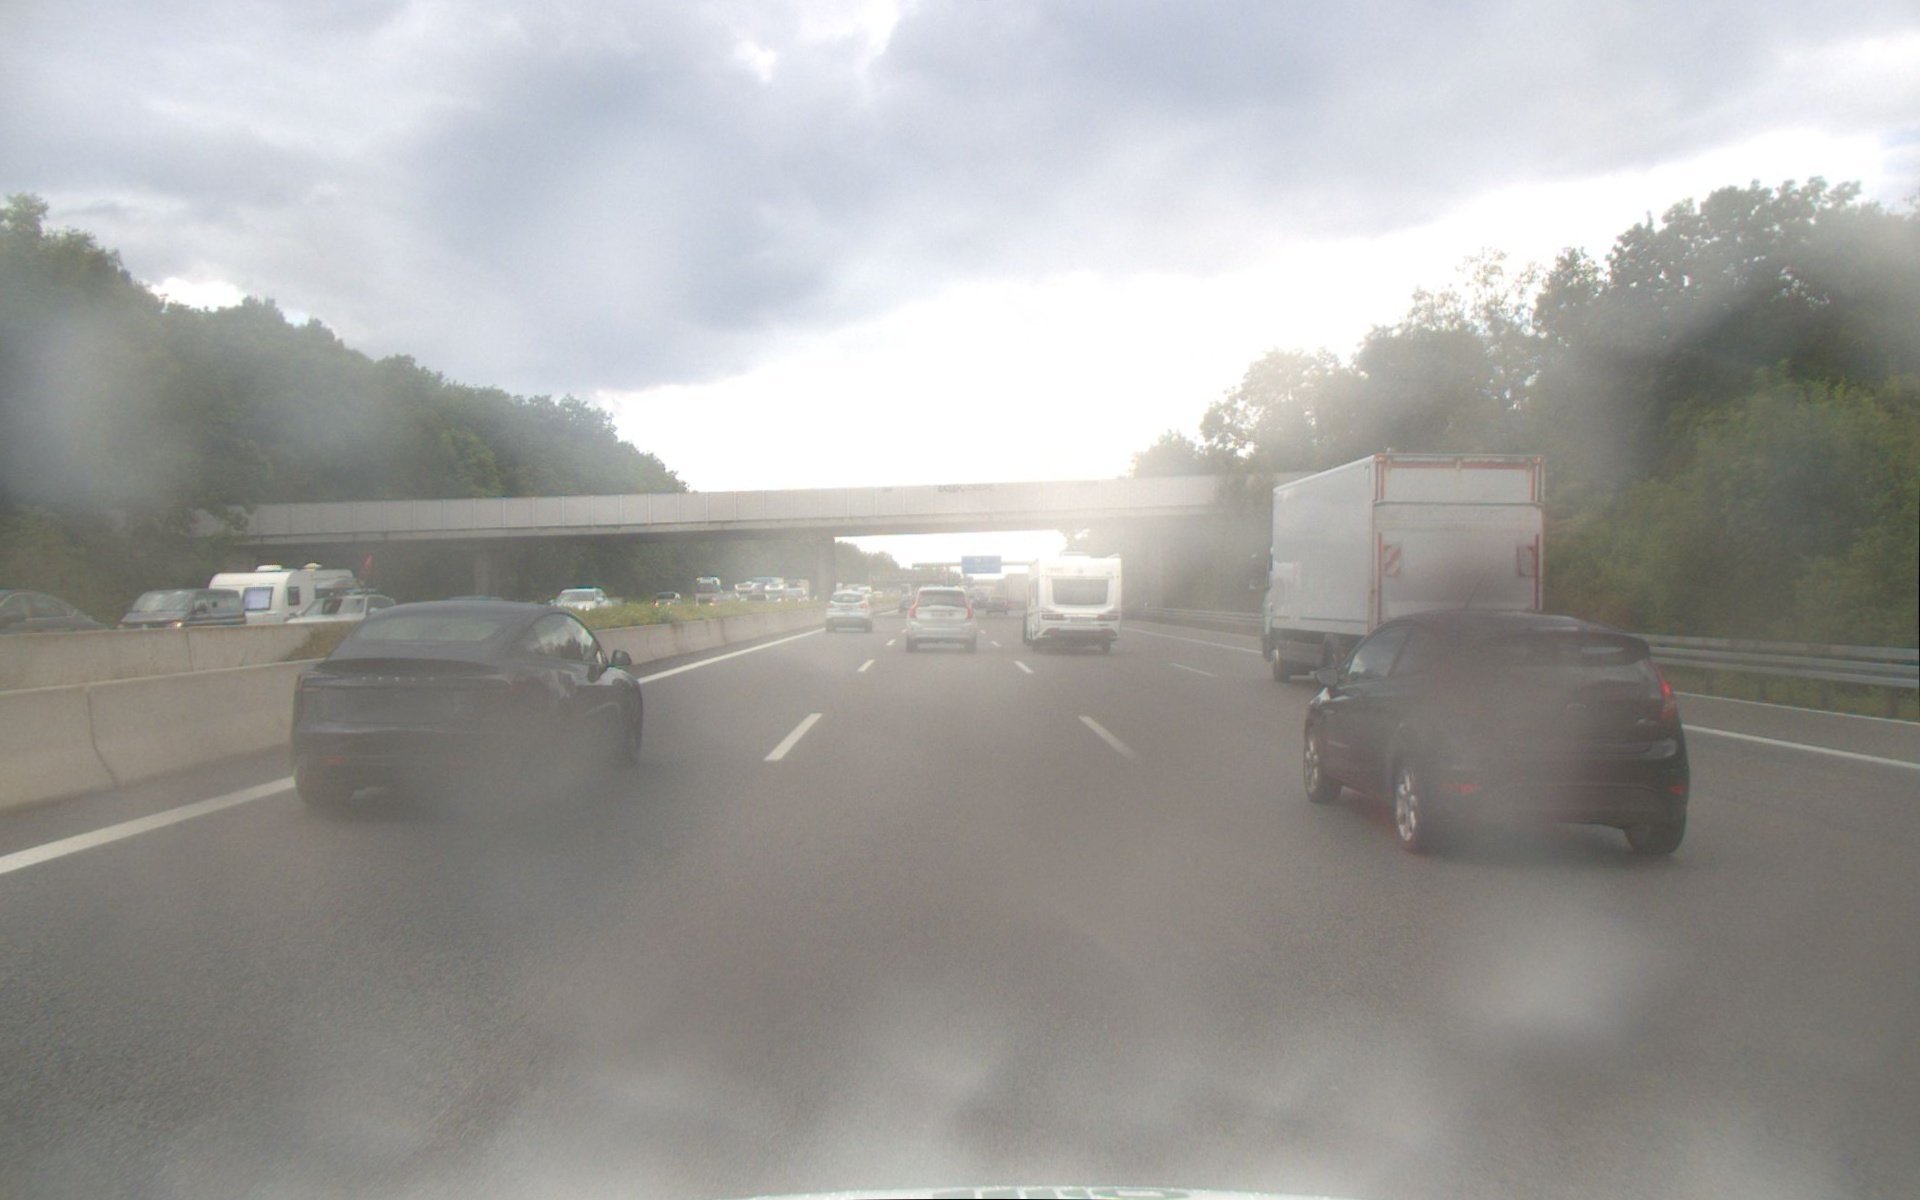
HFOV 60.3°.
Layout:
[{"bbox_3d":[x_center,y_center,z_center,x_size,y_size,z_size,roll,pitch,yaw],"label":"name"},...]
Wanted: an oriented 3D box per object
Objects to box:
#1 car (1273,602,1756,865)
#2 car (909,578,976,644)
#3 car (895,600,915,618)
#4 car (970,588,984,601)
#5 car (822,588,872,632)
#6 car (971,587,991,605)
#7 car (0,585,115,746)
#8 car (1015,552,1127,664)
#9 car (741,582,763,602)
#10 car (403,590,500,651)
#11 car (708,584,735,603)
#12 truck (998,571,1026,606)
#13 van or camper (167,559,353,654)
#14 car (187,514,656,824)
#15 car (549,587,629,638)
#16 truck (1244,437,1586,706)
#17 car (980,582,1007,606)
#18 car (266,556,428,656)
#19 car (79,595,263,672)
[{"bbox_3d":[3.508,0.750,11.392,1.846,1.431,4.282,0,0,-1],"label":"car"},{"bbox_3d":[-0.485,0.279,45.970,1.744,1.746,4.352,0,0,-1],"label":"car"},{"bbox_3d":[-4.770,0.768,144.138,1.745,1.507,4.352,0,0,-1],"label":"car"},{"bbox_3d":[2.440,-0.749,241.601,2.001,1.855,4.904,0,0,0],"label":"car"},{"bbox_3d":[-4.681,0.378,69.079,1.778,1.719,4.851,0,1,-1],"label":"car"},{"bbox_3d":[2.272,-0.421,177.718,2.002,1.855,4.903,0,0,-1],"label":"car"},{"bbox_3d":[-12.824,0.809,20.610,1.953,1.986,5.224,0,0,-1],"label":"car"},{"bbox_3d":[3.050,0.186,47.278,2.515,2.946,7.531,0,0,-1],"label":"car"},{"bbox_3d":[-21.575,-0.836,171.811,1.953,2.049,3.998,0,0,-2],"label":"car"},{"bbox_3d":[-18.057,0.689,58.967,2.002,2.049,4.787,0,0,-1],"label":"car"},{"bbox_3d":[-25.158,-0.670,174.670,2.175,1.986,4.827,0,0,-1],"label":"car"},{"bbox_3d":[5.837,-1.260,187.730,2.847,3.876,7.273,0,0,-1],"label":"truck"},{"bbox_3d":[-22.030,0.162,52.585,2.552,2.754,8.123,0,0,-1],"label":"van or camper"},{"bbox_3d":[-3.693,0.395,12.472,1.953,1.852,5.161,0,0,-1],"label":"car"},{"bbox_3d":[-14.127,0.444,63.339,1.953,1.882,5.224,0,0,-1],"label":"car"},{"bbox_3d":[7.250,-0.436,28.190,3.069,3.774,9.847,0,0,0],"label":"truck"},{"bbox_3d":[2.716,-0.495,135.374,2.002,1.855,4.903,0,0,-1],"label":"car"},{"bbox_3d":[-14.526,0.107,39.545,1.953,2.219,5.288,0,0,-1],"label":"car"},{"bbox_3d":[-21.896,0.869,46.201,2.552,1.986,5.506,0,0,-1],"label":"car"}]
